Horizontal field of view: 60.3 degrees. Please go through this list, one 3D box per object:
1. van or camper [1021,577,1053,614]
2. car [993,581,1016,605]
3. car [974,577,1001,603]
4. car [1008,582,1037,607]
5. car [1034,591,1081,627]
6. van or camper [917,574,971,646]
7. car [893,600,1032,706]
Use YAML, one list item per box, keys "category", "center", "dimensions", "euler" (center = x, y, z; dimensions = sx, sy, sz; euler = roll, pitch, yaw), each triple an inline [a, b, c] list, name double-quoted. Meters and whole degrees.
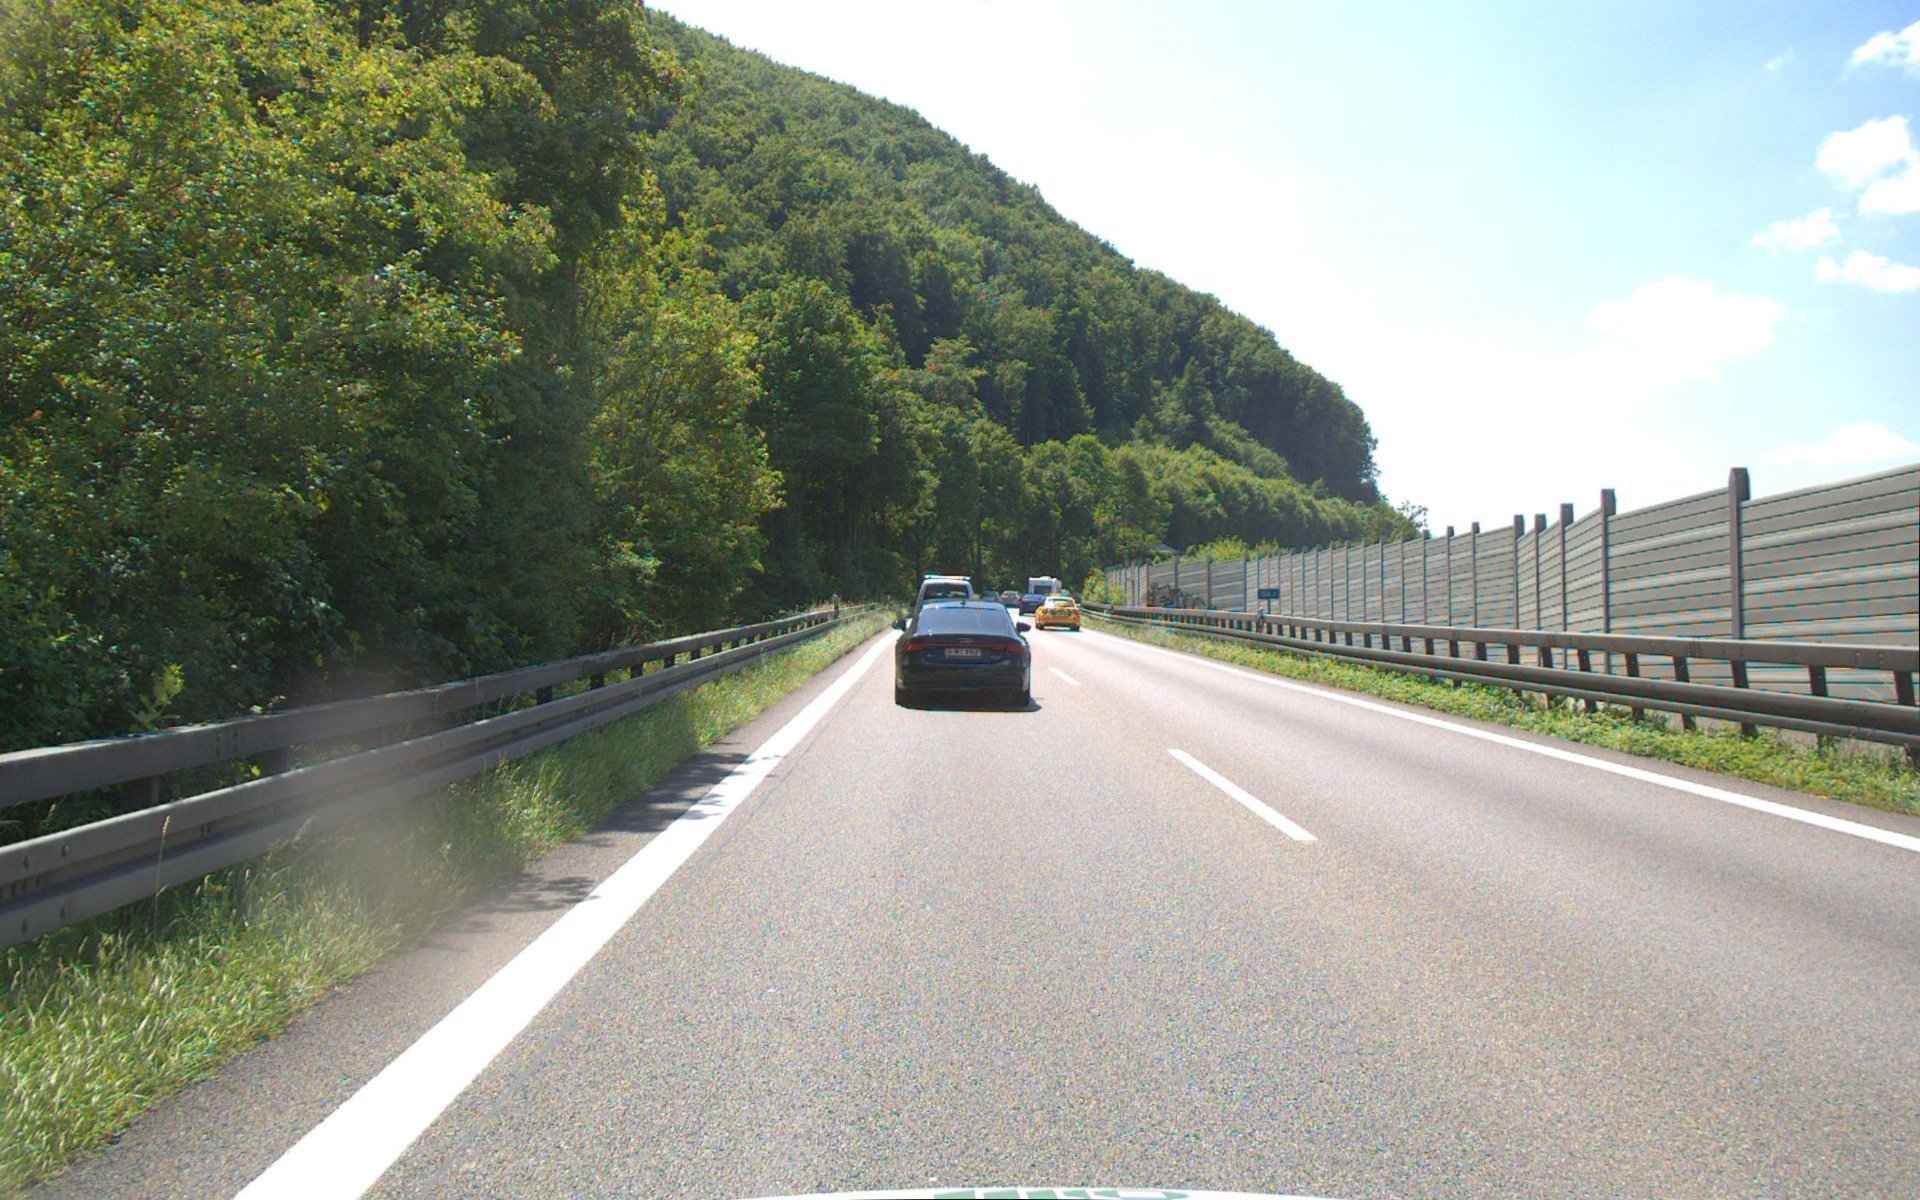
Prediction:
- category: "van or camper"
  center: [6.256, -0.352, 135.092]
  dimensions: [2.405, 2.969, 6.127]
  euler: [1, 0, 1]
- category: "car"
  center: [3.967, -0.626, 146.259]
  dimensions: [1.952, 2.049, 4.001]
  euler: [1, 0, 2]
- category: "car"
  center: [2.126, -0.768, 129.647]
  dimensions: [1.953, 2.049, 3.999]
  euler: [1, 0, -1]
- category: "car"
  center: [4.202, -0.357, 111.903]
  dimensions: [1.737, 1.665, 3.999]
  euler: [1, 0, -1]
- category: "car"
  center: [4.244, 0.393, 72.411]
  dimensions: [1.824, 1.514, 4.000]
  euler: [1, 0, 0]
- category: "van or camper"
  center: [-0.438, 0.262, 44.520]
  dimensions: [1.363, 1.847, 3.999]
  euler: [1, 0, -1]
- category: "car"
  center: [0.011, 0.697, 23.504]
  dimensions: [1.800, 1.373, 3.999]
  euler: [0, 0, -1]
